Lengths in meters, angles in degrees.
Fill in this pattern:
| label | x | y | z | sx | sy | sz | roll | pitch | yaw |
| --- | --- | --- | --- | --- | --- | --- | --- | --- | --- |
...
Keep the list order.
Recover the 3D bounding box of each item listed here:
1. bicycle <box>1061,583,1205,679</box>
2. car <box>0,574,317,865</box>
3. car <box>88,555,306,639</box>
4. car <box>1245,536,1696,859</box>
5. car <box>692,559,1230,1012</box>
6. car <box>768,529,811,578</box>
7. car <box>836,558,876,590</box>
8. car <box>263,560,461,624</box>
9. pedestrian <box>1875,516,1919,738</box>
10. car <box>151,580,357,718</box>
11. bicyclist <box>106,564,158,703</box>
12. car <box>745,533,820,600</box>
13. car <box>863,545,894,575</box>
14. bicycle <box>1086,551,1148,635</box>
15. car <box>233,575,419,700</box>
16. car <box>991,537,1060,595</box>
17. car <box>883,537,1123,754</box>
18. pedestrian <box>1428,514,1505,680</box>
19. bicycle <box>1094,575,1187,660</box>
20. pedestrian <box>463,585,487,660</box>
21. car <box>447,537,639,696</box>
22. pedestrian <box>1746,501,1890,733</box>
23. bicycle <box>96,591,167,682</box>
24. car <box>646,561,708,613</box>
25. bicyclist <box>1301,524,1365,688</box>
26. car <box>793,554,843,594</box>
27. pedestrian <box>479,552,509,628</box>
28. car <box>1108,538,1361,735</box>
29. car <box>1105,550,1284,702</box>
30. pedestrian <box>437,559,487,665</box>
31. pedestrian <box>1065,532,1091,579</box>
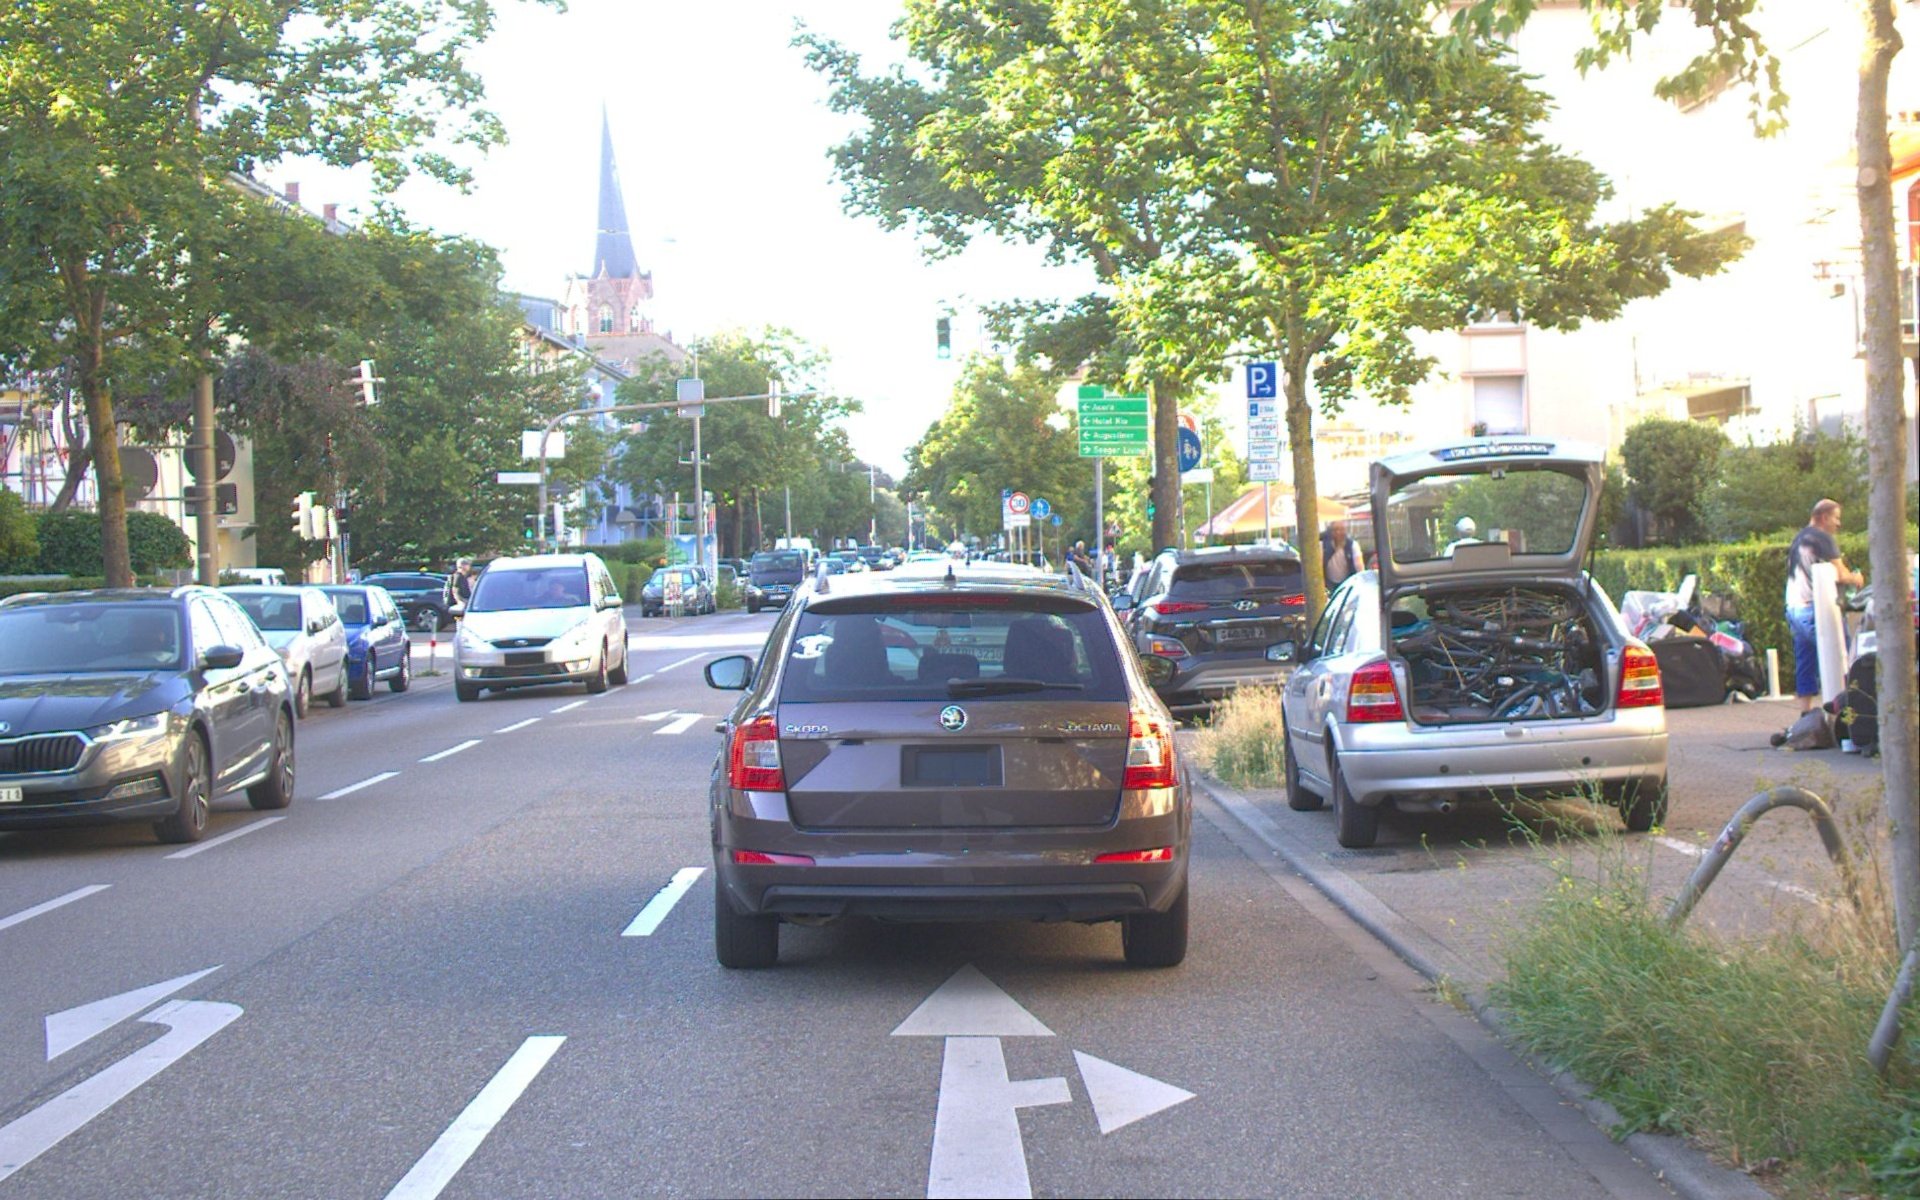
| label | x | y | z | sx | sy | sz | roll | pitch | yaw |
| --- | --- | --- | --- | --- | --- | --- | --- | --- | --- |
| bicycle | 2.338 | 0.414 | 46.426 | 1.835 | 1.153 | 0.683 | -4 | 0 | 6 |
| car | -5.147 | 0.642 | 20.395 | 1.760 | 1.447 | 4.534 | -4 | 1 | 0 |
| car | -17.727 | -0.077 | 80.020 | 4.634 | 1.805 | 1.862 | -2 | 1 | 0 |
| car | 2.662 | 0.447 | 18.849 | 1.708 | 1.475 | 4.268 | -3 | 1 | -1 |
| car | -0.025 | 0.588 | 13.540 | 1.773 | 1.484 | 4.311 | 0 | 1 | -1 |
| car | -8.824 | -2.406 | 178.594 | 1.993 | 2.469 | 4.000 | -2 | 1 | 0 |
| car | -5.110 | -1.282 | 169.514 | 1.787 | 1.565 | 4.000 | 0 | 1 | 1 |
| car | -14.937 | -0.211 | 86.007 | 4.634 | 1.530 | 1.862 | 0 | 1 | 0 |
| pedestrian | 6.860 | 0.178 | 24.147 | 0.593 | 1.535 | 0.694 | -1 | 1 | 36 |
| car | -8.084 | 0.526 | 39.650 | 1.593 | 1.465 | 3.803 | 1 | 1 | 0 |
| bicyclist | -10.046 | 0.399 | 41.720 | 0.468 | 1.657 | 0.552 | -1 | 1 | -1 |
| car | -5.424 | -1.028 | 105.673 | 1.993 | 1.902 | 4.964 | -4 | 1 | -1 |
| car | -5.620 | -2.764 | 237.942 | 1.993 | 2.007 | 4.000 | -2 | 1 | 0 |
| bicycle | 2.214 | -0.097 | 48.657 | 0.501 | 1.143 | 1.959 | -4 | 0 | -6 |
| car | -8.106 | 0.444 | 44.279 | 1.648 | 1.512 | 4.074 | 0 | 1 | 0 |
| car | 2.044 | -1.058 | 106.255 | 1.994 | 1.766 | 4.000 | 0 | 1 | 3 |
| car | 0.332 | 0.306 | 27.097 | 1.737 | 1.565 | 4.000 | 0 | 1 | 1 |
| pedestrian | 5.475 | -0.033 | 37.191 | 0.662 | 1.743 | 0.772 | -3 | 0 | 2 |
| bicycle | 2.359 | 0.221 | 44.797 | 0.619 | 1.048 | 1.571 | -1 | 1 | 26 |
| pedestrian | -11.774 | 0.543 | 83.471 | 0.449 | 1.791 | 0.504 | -2 | 1 | 0 |
| car | -5.179 | 0.164 | 43.248 | 1.805 | 1.798 | 4.746 | -3 | 1 | -1 |
| pedestrian | 6.178 | 0.116 | 24.748 | 0.757 | 1.634 | 0.694 | -1 | 1 | 36 |
| bicycle | -10.035 | 0.433 | 41.649 | 0.486 | 1.060 | 1.534 | -1 | 1 | -1 |
| car | -8.383 | -0.402 | 102.028 | 1.522 | 1.452 | 3.585 | -2 | 1 | 0 |
| bicyclist | 4.140 | 0.057 | 38.175 | 0.581 | 1.782 | 0.852 | -1 | 1 | 0 |
| car | -5.809 | -1.088 | 140.924 | 1.830 | 1.574 | 4.000 | -2 | 1 | 0 |
| pedestrian | -11.247 | -0.242 | 82.976 | 0.616 | 1.791 | 0.504 | -2 | 1 | 0 |
| car | 2.420 | 0.283 | 31.262 | 1.856 | 1.576 | 4.014 | -3 | 1 | -1 |
| car | 2.454 | 0.236 | 36.784 | 1.703 | 1.445 | 4.013 | -3 | 1 | 2 |
| pedestrian | -9.448 | 0.221 | 65.241 | 0.780 | 1.981 | 0.821 | -2 | 1 | 0 |
| pedestrian | 4.396 | -1.655 | 128.098 | 0.675 | 1.698 | 0.800 | -1 | 1 | 26 |
